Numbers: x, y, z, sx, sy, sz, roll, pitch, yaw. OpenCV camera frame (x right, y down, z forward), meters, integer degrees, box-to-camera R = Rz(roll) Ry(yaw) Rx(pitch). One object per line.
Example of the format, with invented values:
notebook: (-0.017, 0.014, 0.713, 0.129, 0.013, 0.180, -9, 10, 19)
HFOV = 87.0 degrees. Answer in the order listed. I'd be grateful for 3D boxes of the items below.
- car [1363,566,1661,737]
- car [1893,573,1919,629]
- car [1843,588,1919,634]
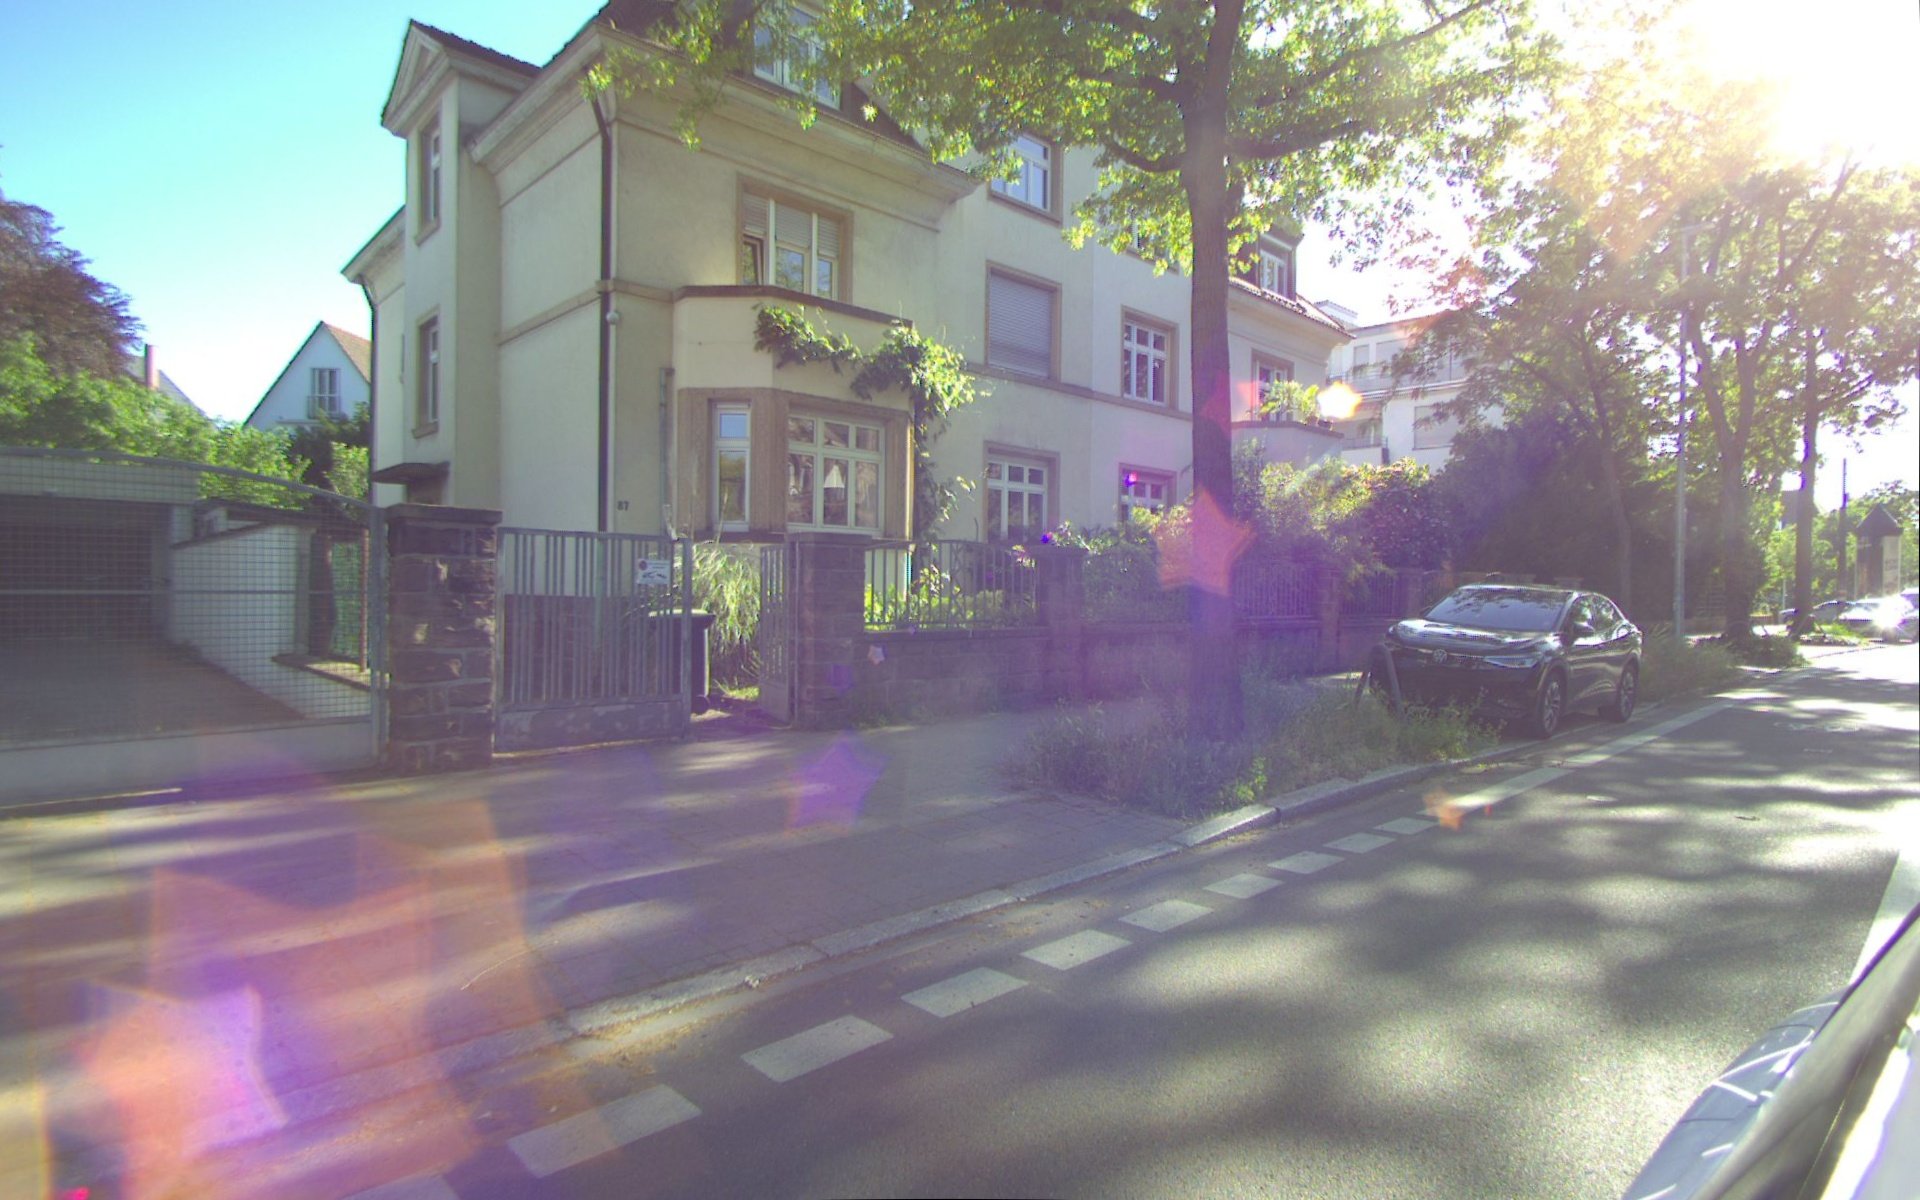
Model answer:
car: (6.687, 0.494, 12.092, 4.020, 1.626, 1.743, 0, 4, -41)
car: (36.786, 0.051, 38.074, 4.503, 2.039, 1.997, 0, 1, -41)
car: (31.551, 0.339, 34.413, 3.930, 1.469, 1.785, 0, 1, -41)
